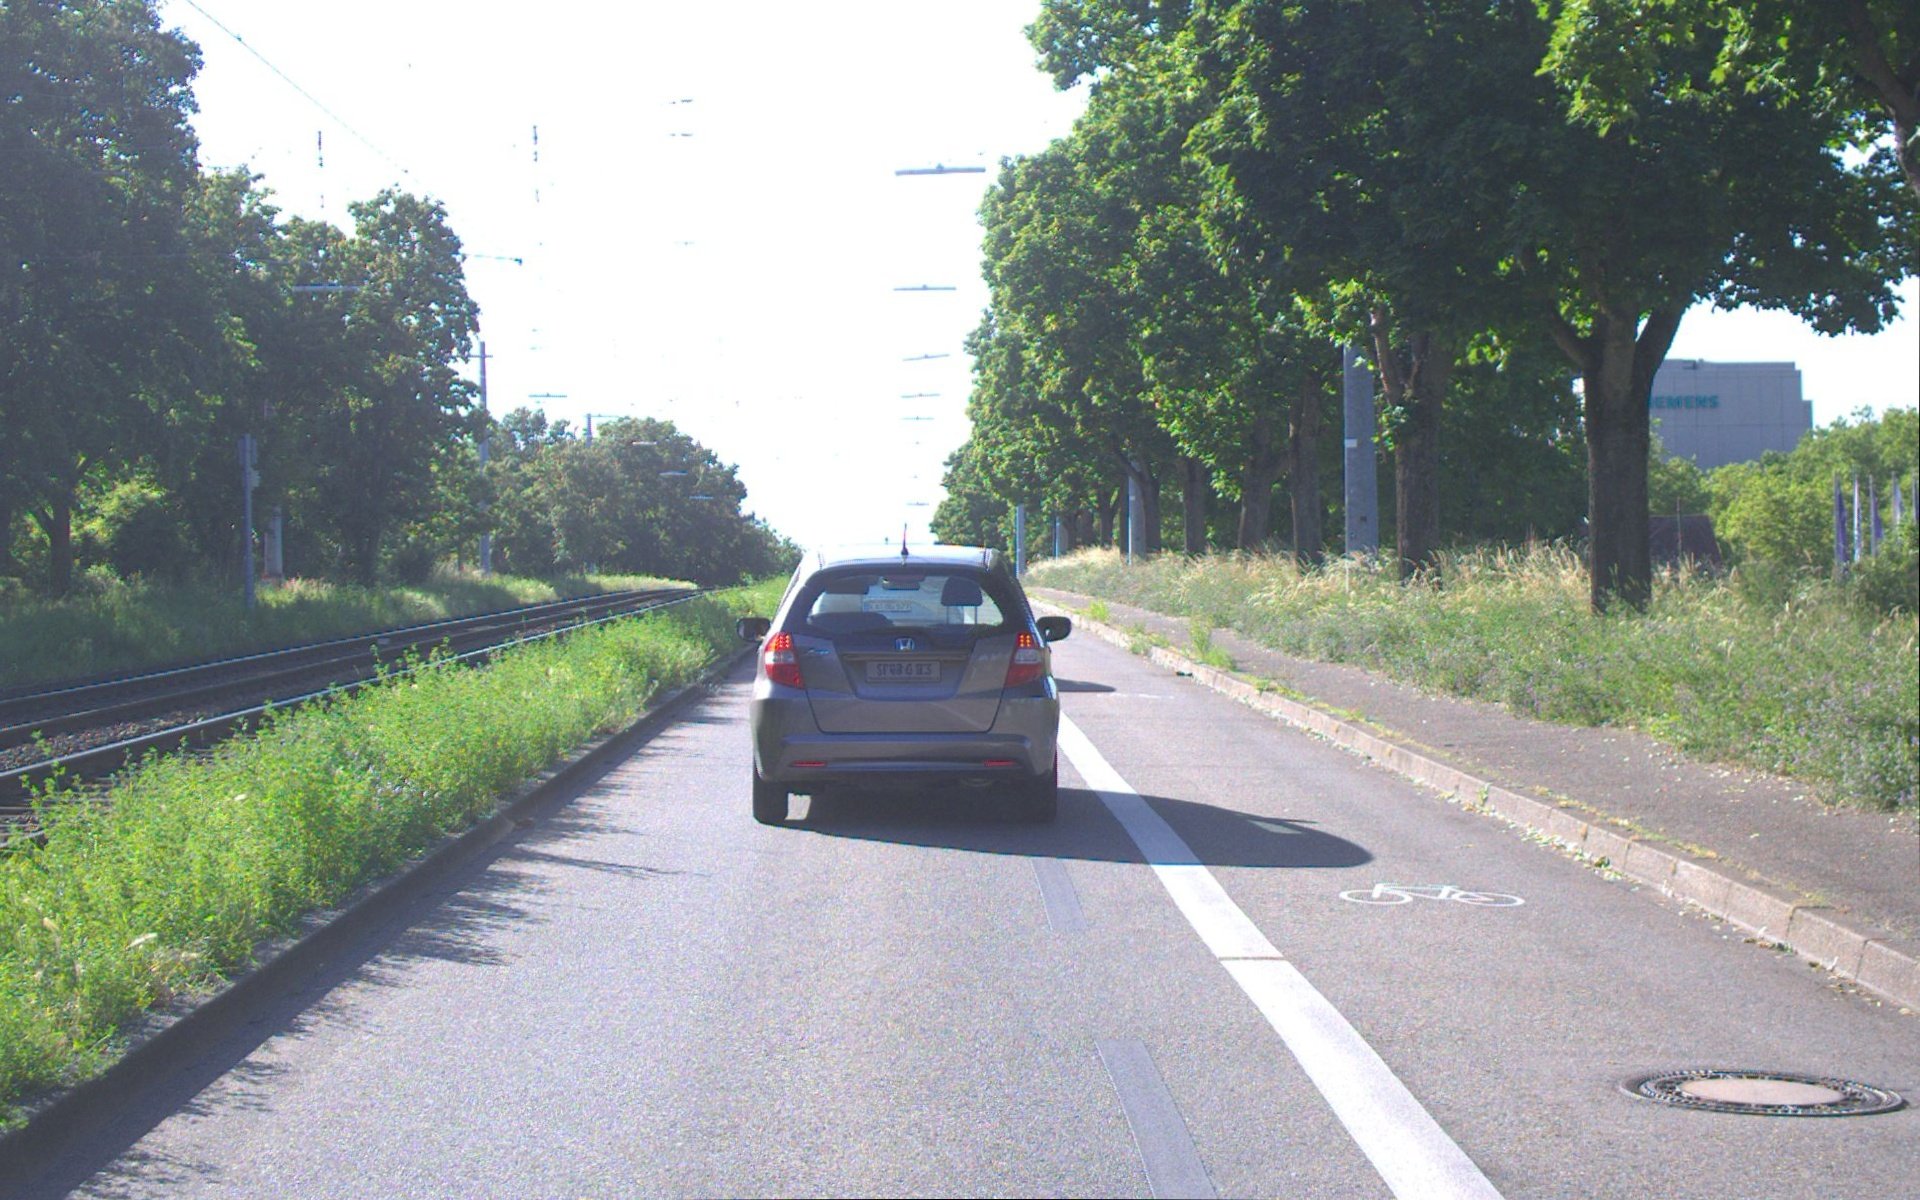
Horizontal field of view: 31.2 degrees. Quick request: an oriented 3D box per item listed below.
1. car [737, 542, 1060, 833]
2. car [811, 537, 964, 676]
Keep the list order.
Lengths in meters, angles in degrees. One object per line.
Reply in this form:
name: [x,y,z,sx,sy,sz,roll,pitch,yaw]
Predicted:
car: [-0.326,0.435,19.856,1.670,1.502,3.811,1,1,0]
car: [-0.799,0.050,39.469,1.654,1.502,3.811,1,1,0]
